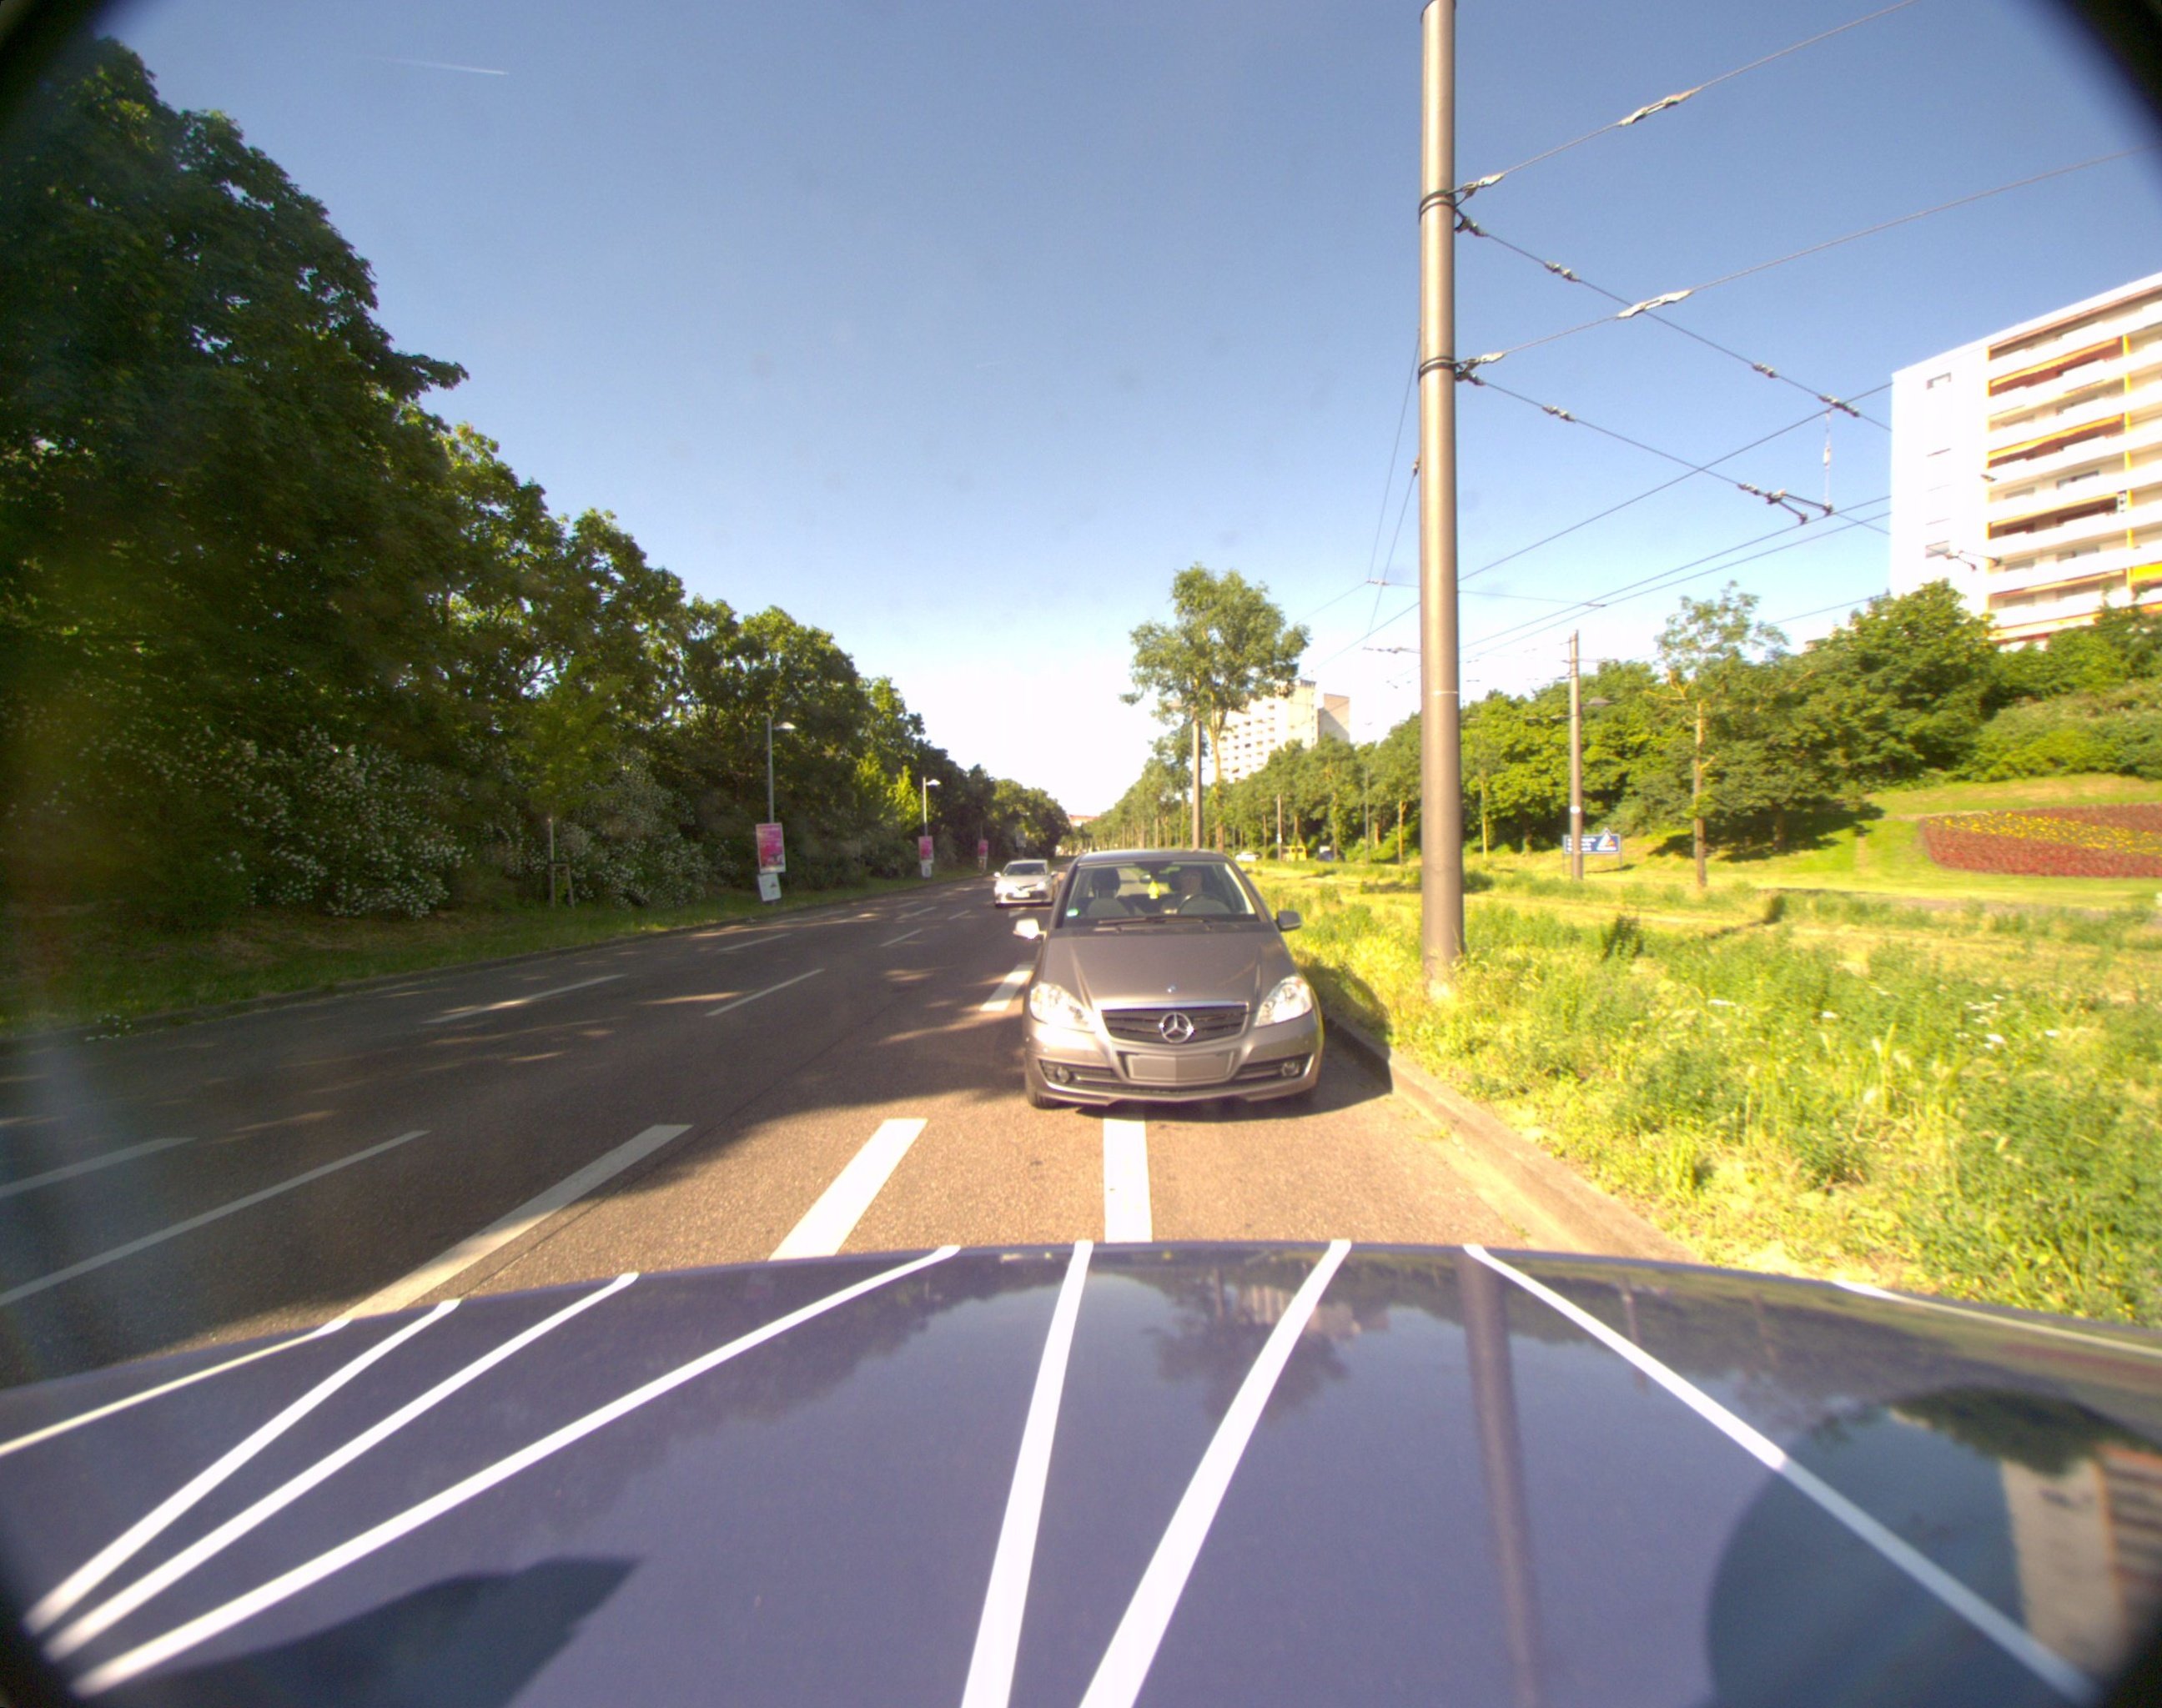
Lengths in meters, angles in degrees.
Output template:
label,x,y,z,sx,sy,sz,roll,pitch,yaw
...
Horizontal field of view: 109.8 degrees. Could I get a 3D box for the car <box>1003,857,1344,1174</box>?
label,x,y,z,sx,sy,sz,roll,pitch,yaw
car,0.509,0.855,5.914,1.759,1.612,3.880,-1,0,1

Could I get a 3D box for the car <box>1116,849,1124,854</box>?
label,x,y,z,sx,sy,sz,roll,pitch,yaw
car,11.500,-0.710,222.725,1.803,1.455,3.998,0,1,-4

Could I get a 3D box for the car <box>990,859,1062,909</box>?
label,x,y,z,sx,sy,sz,roll,pitch,yaw
car,-1.725,0.931,25.207,1.875,1.428,4.594,-1,0,2

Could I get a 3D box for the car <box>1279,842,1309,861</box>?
label,x,y,z,sx,sy,sz,roll,pitch,yaw
car,23.248,-0.296,83.090,1.998,1.955,4.907,-1,0,1

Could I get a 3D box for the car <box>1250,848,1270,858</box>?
label,x,y,z,sx,sy,sz,roll,pitch,yaw
car,23.552,-0.143,100.057,1.780,1.368,4.001,-1,0,3

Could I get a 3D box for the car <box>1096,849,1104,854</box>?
label,x,y,z,sx,sy,sz,roll,pitch,yaw
car,6.231,-0.756,253.861,1.911,1.652,3.996,-1,0,-10

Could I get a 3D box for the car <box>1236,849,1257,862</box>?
label,x,y,z,sx,sy,sz,roll,pitch,yaw
car,19.620,0.155,90.421,1.693,1.399,4.021,-1,0,1

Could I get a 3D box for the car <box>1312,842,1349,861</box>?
label,x,y,z,sx,sy,sz,roll,pitch,yaw
car,22.523,-0.252,68.820,1.998,1.565,4.106,1,1,1

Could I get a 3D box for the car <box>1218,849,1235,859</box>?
label,x,y,z,sx,sy,sz,roll,pitch,yaw
car,22.237,-0.022,116.028,1.792,1.499,4.241,-1,0,1

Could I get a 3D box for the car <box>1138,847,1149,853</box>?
label,x,y,z,sx,sy,sz,roll,pitch,yaw
car,15.693,-0.934,191.572,1.803,1.455,3.997,-1,0,-9

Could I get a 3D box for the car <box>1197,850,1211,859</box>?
label,x,y,z,sx,sy,sz,roll,pitch,yaw
car,18.866,0.079,116.811,1.799,1.408,4.311,-1,0,4
